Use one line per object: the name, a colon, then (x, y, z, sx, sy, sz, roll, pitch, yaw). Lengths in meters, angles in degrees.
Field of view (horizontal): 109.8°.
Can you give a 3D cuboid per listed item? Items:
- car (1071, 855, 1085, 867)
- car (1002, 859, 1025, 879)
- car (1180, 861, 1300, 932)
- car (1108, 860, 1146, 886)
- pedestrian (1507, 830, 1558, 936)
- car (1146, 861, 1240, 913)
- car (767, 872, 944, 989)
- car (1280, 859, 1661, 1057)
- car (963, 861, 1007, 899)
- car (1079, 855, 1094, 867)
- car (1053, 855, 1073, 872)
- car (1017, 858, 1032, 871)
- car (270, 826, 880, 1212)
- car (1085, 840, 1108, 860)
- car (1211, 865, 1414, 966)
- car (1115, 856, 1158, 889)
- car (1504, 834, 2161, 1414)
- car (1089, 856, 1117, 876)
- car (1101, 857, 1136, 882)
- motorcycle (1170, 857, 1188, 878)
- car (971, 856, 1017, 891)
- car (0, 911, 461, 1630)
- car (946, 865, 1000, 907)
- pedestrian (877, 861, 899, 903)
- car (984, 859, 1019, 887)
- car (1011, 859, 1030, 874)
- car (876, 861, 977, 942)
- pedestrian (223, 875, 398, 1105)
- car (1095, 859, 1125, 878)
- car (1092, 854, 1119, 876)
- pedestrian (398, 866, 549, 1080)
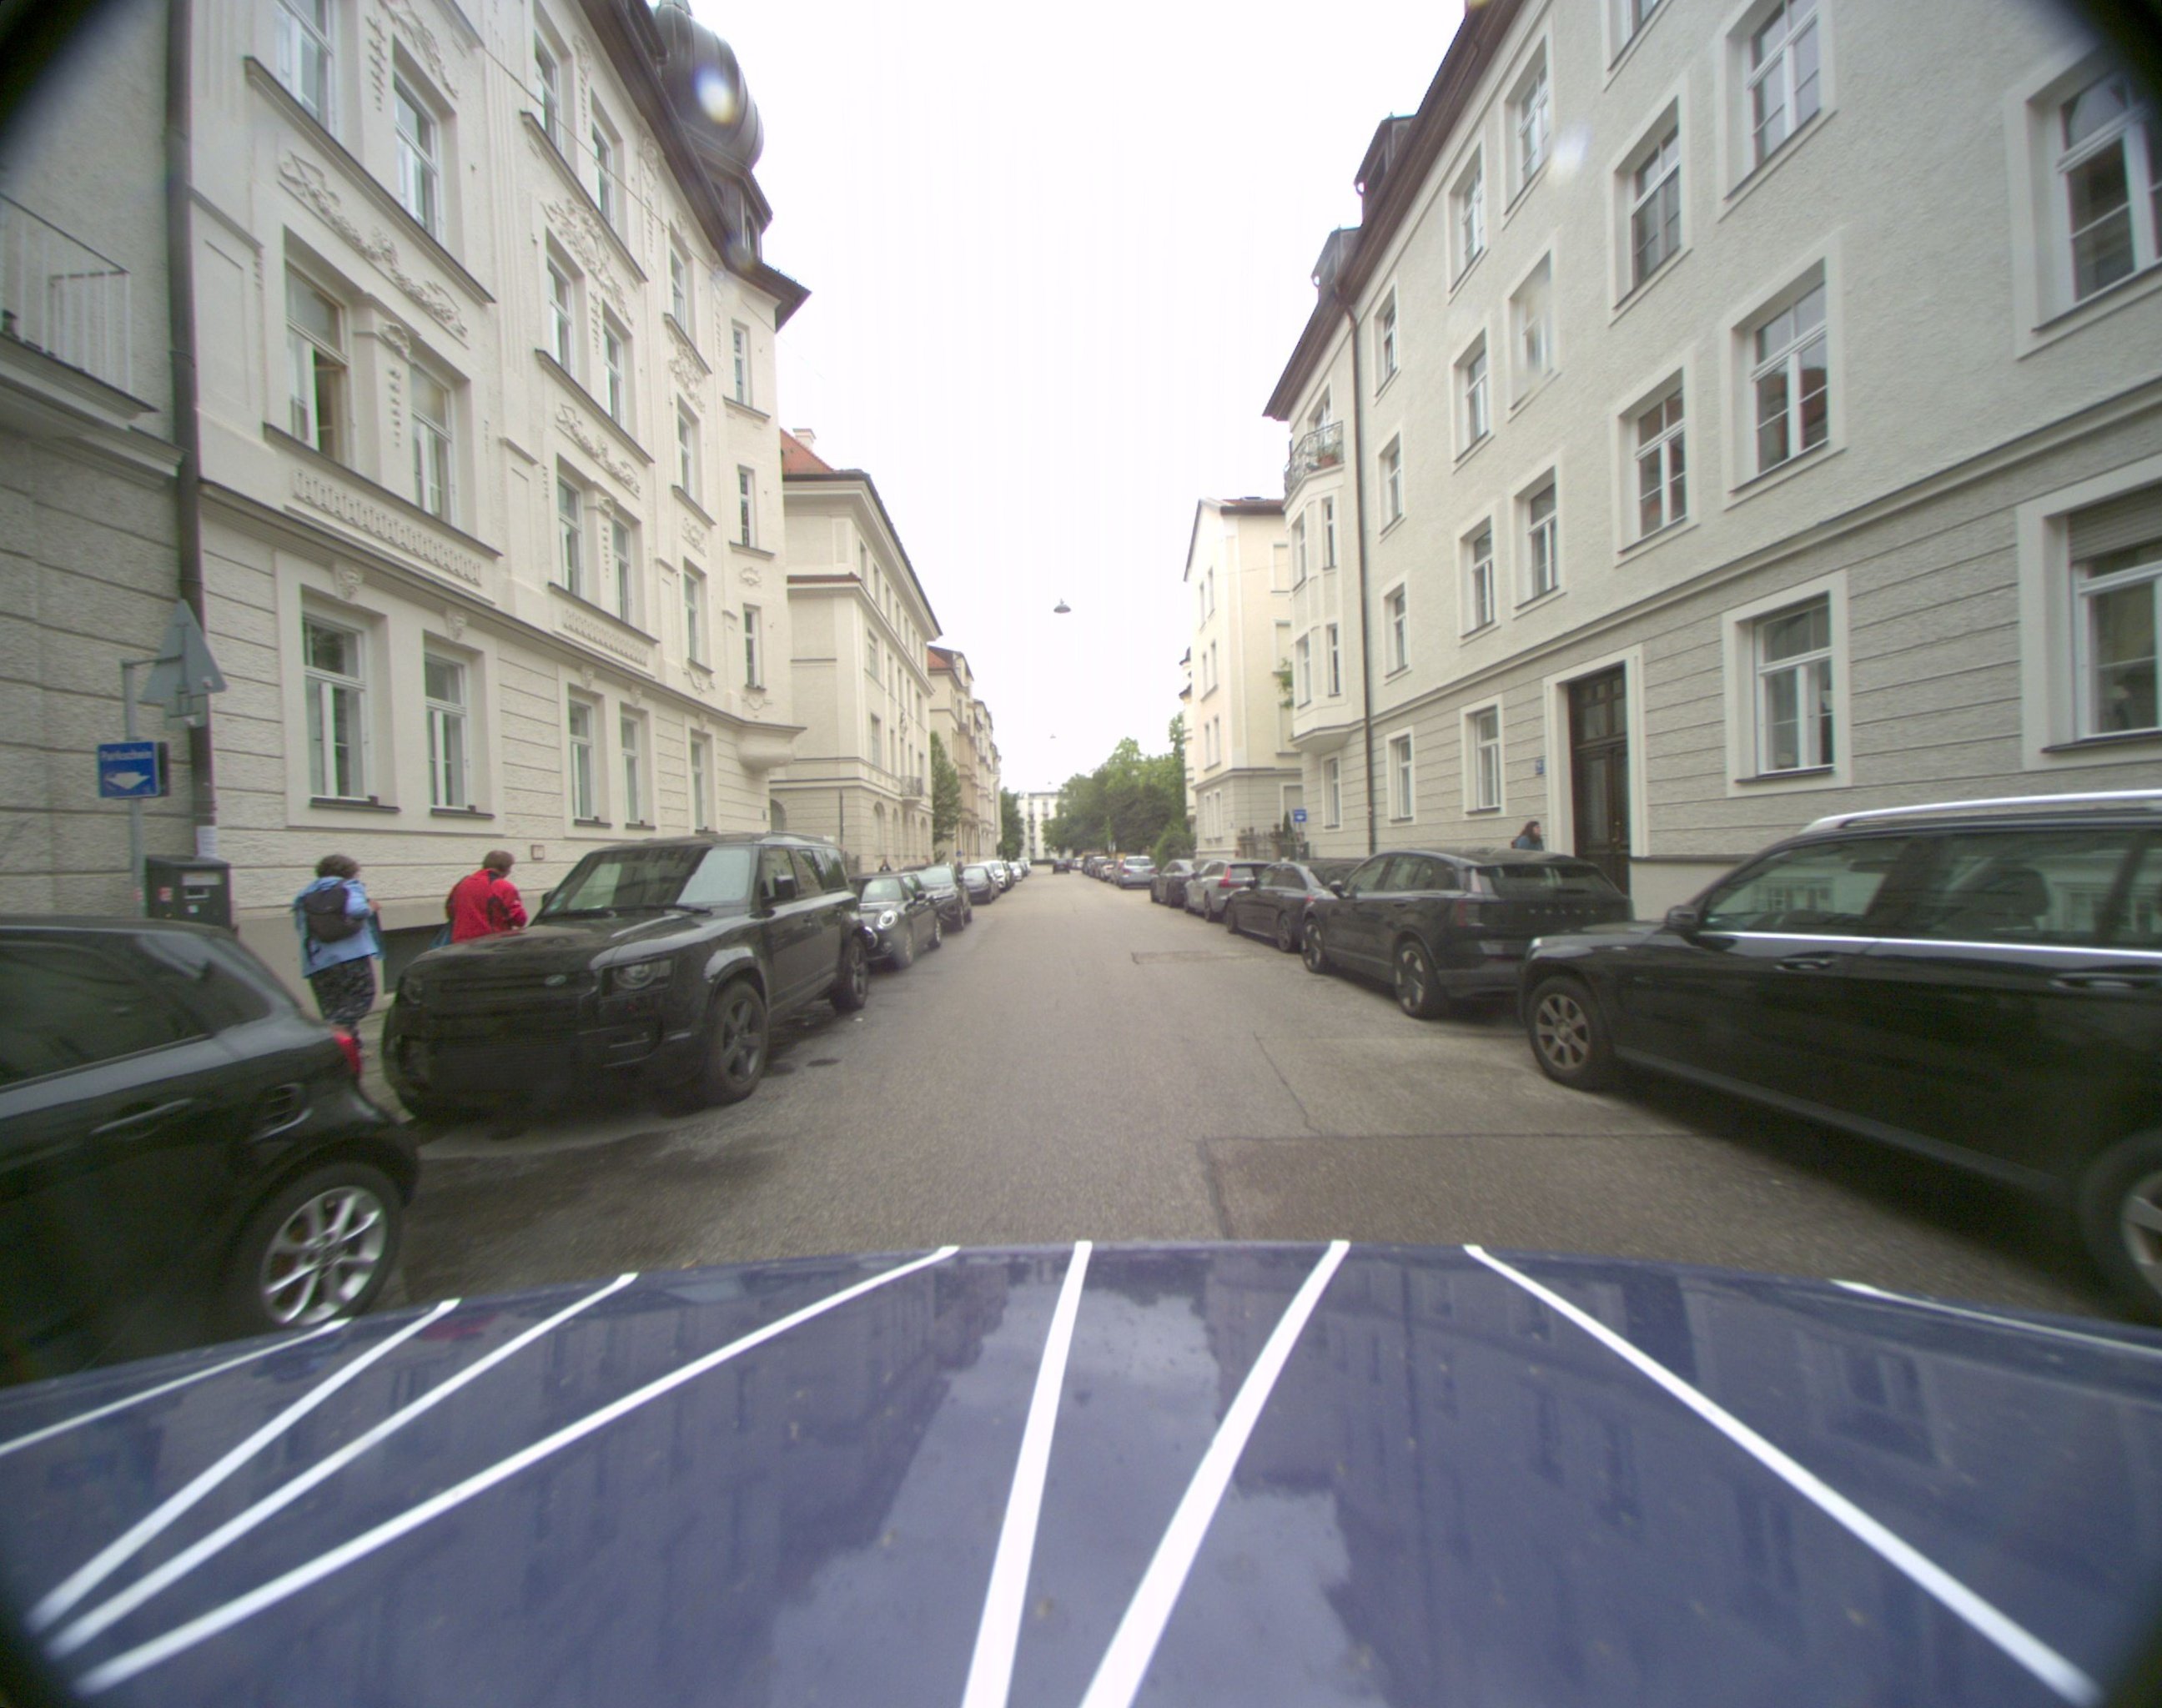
car: (-0.438, 0.942, 103.614, 1.705, 1.552, 3.929, -1, 0, -4)
car: (-5.329, 1.166, 60.077, 1.668, 1.498, 4.063, -3, -1, -5)
car: (3.659, 0.927, 18.349, 1.799, 1.411, 4.509, 1, 0, -2)
car: (2.591, 1.060, 43.594, 1.649, 1.395, 3.998, 0, 0, -5)
pedestrian: (7.526, 0.474, 12.669, 0.663, 1.697, 0.701, -2, 1, 31)
car: (3.350, 0.933, 23.640, 1.855, 1.359, 4.700, -2, 0, -4)
car: (-3.374, 1.082, 12.088, 1.668, 1.387, 3.581, -4, 0, 0)
car: (3.653, 0.834, 8.119, 1.746, 1.478, 4.180, -2, 0, -3)
car: (-4.267, 1.104, 34.284, 1.713, 1.492, 3.998, -3, 0, -5)
car: (0.681, 0.941, 98.111, 1.705, 1.483, 3.954, -1, 0, -4)
car: (-1.876, 0.941, 78.899, 1.729, 1.525, 4.083, -5, 1, -4)
car: (-7.096, 1.340, 95.626, 1.715, 1.462, 4.083, -3, 0, -5)
car: (-3.251, 0.856, 6.330, 1.916, 1.874, 4.713, -4, 0, -2)
car: (1.462, -0.401, 74.779, 1.917, 1.875, 4.815, -1, 0, -3)
car: (3.749, 0.921, 13.229, 1.816, 1.377, 4.441, 0, 0, -6)
car: (2.704, 0.884, 37.596, 1.701, 1.571, 4.061, 0, 0, -2)
car: (3.933, 0.794, 3.174, 1.751, 1.663, 4.274, 1, 0, -3)
car: (1.740, 0.951, 60.550, 1.773, 1.412, 3.998, -2, 1, -5)
car: (2.335, 0.972, 48.331, 1.802, 1.426, 4.078, -2, 0, -3)
motorcycle: (6.183, 0.842, 47.926, 0.706, 1.242, 1.820, -4, 1, -3)
car: (-4.404, 0.995, 39.096, 1.900, 1.626, 4.391, -2, -1, -1)
car: (-3.264, 1.012, 1.155, 1.659, 1.516, 3.636, -3, 0, -2)
car: (-4.070, 1.175, 29.237, 1.617, 1.387, 3.999, -3, 0, -3)
pedestrian: (-7.743, 1.114, 30.469, 0.684, 1.669, 0.812, 0, 0, -3)
car: (-4.621, 1.068, 44.640, 1.753, 1.516, 4.169, -2, 0, -2)
car: (-5.926, 1.203, 74.753, 1.646, 1.409, 3.999, -3, 0, -2)
car: (-3.499, 1.018, 17.910, 1.712, 1.578, 3.999, -4, 0, -4)
pedestrian: (-5.916, 1.000, 5.874, 0.681, 1.664, 0.654, 0, 0, -5)
car: (2.116, 1.020, 56.168, 1.740, 1.357, 4.191, 0, 0, -5)
car: (2.085, 0.931, 65.971, 1.811, 1.638, 4.484, -4, 0, -3)
pedestrian: (-5.194, 0.970, 6.541, 0.705, 1.718, 0.703, -1, 0, -5)
